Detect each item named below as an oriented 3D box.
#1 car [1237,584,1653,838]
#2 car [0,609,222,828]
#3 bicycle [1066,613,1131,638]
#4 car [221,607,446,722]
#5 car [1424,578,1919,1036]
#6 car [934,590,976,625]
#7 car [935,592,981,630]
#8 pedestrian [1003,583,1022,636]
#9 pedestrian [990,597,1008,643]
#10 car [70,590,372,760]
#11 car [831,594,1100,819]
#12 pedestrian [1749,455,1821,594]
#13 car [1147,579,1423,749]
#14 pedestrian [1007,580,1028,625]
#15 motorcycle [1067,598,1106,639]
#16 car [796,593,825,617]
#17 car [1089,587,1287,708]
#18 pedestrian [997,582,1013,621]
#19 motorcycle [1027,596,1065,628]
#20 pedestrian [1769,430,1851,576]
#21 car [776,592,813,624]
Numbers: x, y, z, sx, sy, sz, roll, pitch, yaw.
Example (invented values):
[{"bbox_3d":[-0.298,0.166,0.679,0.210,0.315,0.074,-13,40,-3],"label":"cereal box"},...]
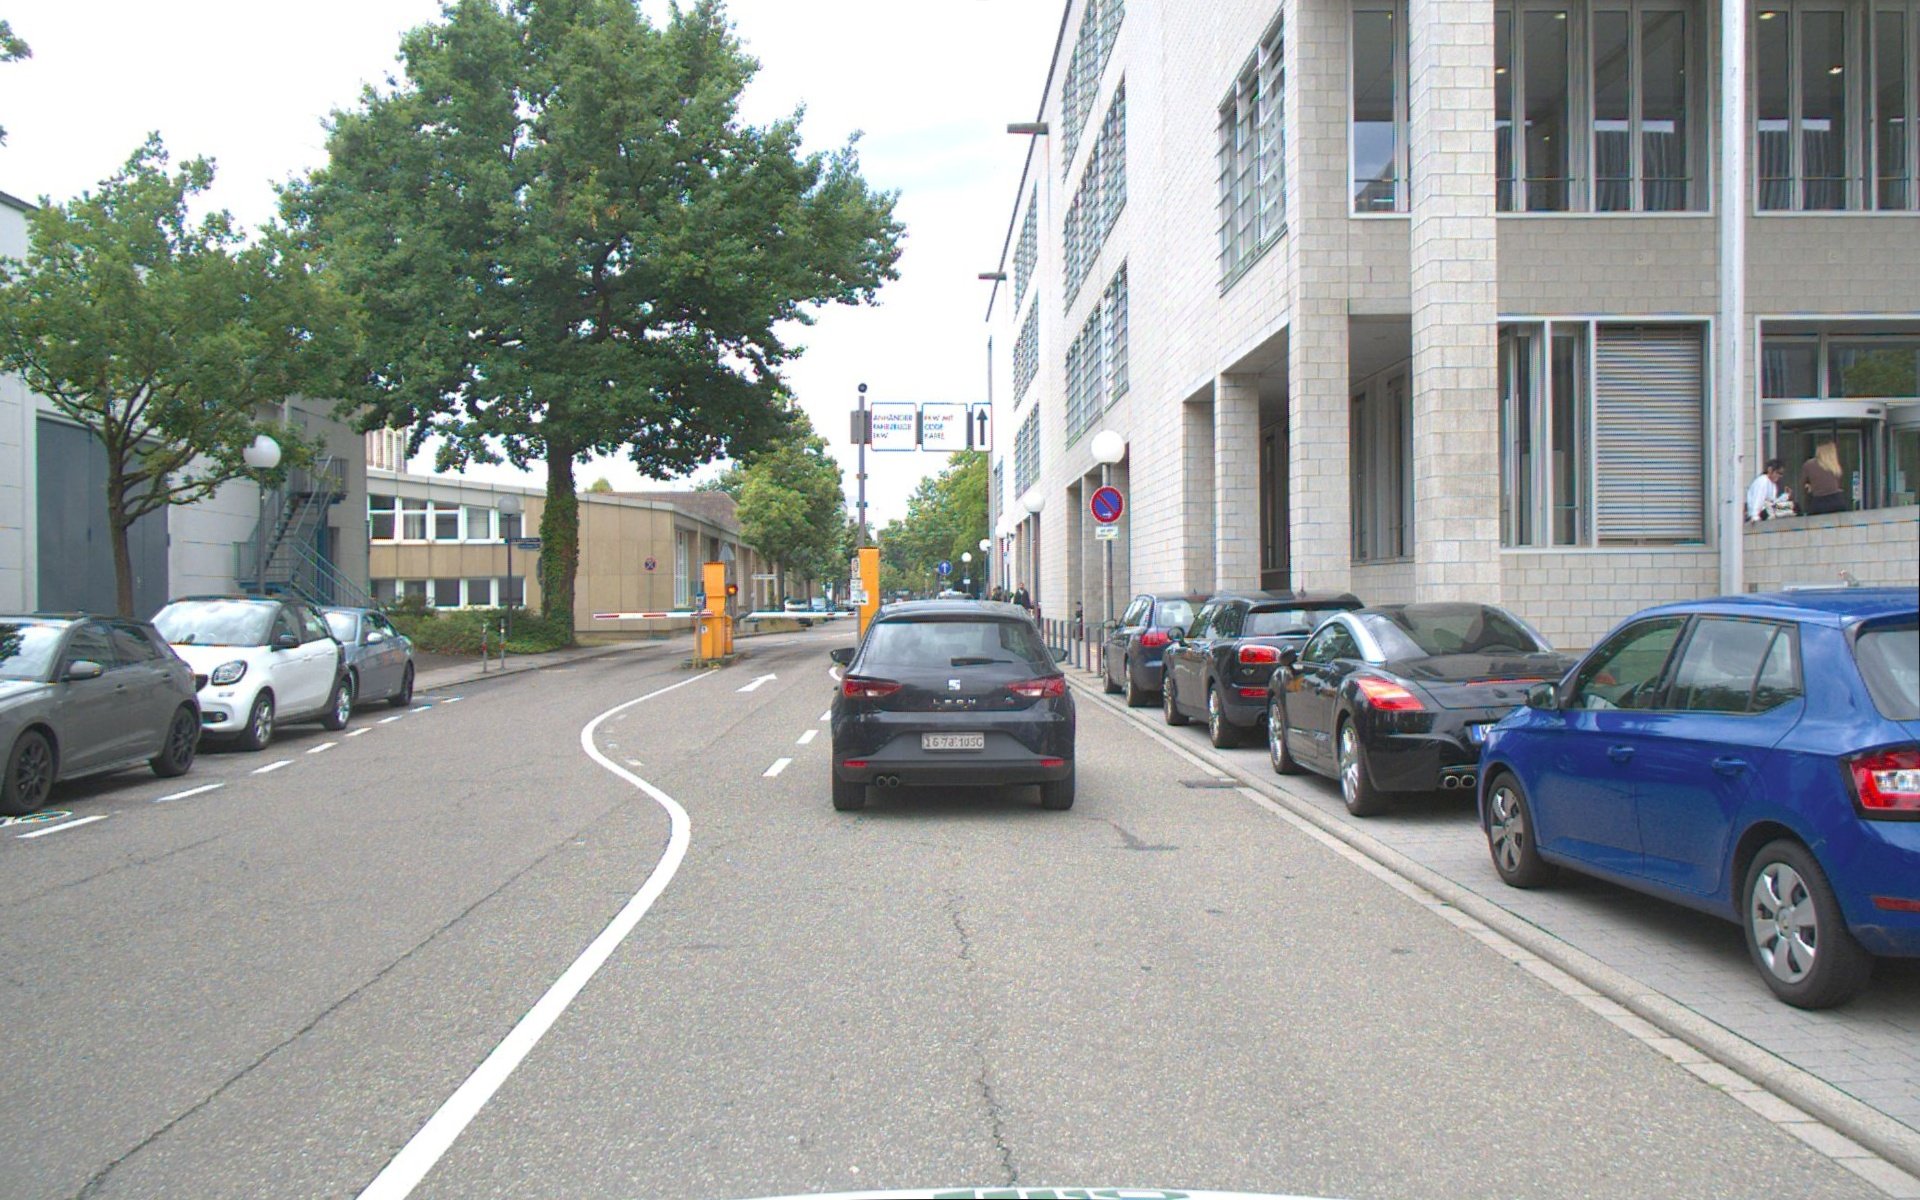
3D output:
[{"bbox_3d":[3.382,0.670,12.471,1.810,1.467,4.419,-1,2,-1],"label":"car"},{"bbox_3d":[-7.531,0.830,13.109,1.728,1.436,4.006,-1,1,-3],"label":"car"},{"bbox_3d":[4.109,0.759,49.156,1.860,0.711,0.492,0,2,-6],"label":"bicycle"},{"bbox_3d":[-8.588,0.823,23.064,1.782,1.413,4.191,0,0,-4],"label":"car"},{"bbox_3d":[3.660,0.637,7.299,1.662,1.436,4.372,-2,0,-5],"label":"car"},{"bbox_3d":[-0.269,0.358,82.185,1.953,1.651,4.426,-2,0,-2],"label":"car"},{"bbox_3d":[-0.140,0.518,77.658,1.954,1.651,4.425,-2,-1,-2],"label":"car"},{"bbox_3d":[1.770,0.323,55.604,0.598,1.744,0.575,-2,0,2],"label":"pedestrian"},{"bbox_3d":[1.494,0.756,63.423,0.675,1.728,0.588,0,2,2],"label":"pedestrian"},{"bbox_3d":[-7.912,0.723,18.118,1.681,1.613,3.876,0,1,-2],"label":"car"},{"bbox_3d":[-0.039,0.683,12.813,1.746,1.444,4.128,0,0,-2],"label":"car"},{"bbox_3d":[10.253,-0.932,20.570,0.616,1.687,0.808,1,2,14],"label":"pedestrian"},{"bbox_3d":[3.227,0.572,17.357,1.781,1.468,4.518,-2,0,-3],"label":"car"},{"bbox_3d":[2.253,0.092,64.742,0.714,1.728,0.587,0,2,-7],"label":"pedestrian"},{"bbox_3d":[4.004,0.563,52.330,0.554,1.168,2.217,1,2,22],"label":"motorcycle"},{"bbox_3d":[-10.119,0.332,112.129,1.734,1.629,3.998,0,0,-2],"label":"car"},{"bbox_3d":[3.047,0.609,23.189,1.953,1.477,4.921,-1,0,-2],"label":"car"},{"bbox_3d":[2.049,0.061,74.964,0.682,1.744,0.489,0,0,2],"label":"pedestrian"},{"bbox_3d":[3.597,0.489,68.910,0.744,1.168,2.663,1,3,22],"label":"motorcycle"},{"bbox_3d":[10.083,-1.146,19.650,0.788,1.687,0.631,1,2,23],"label":"pedestrian"},{"bbox_3d":[-8.915,0.416,89.373,1.735,1.629,3.998,0,0,-3],"label":"car"}]
